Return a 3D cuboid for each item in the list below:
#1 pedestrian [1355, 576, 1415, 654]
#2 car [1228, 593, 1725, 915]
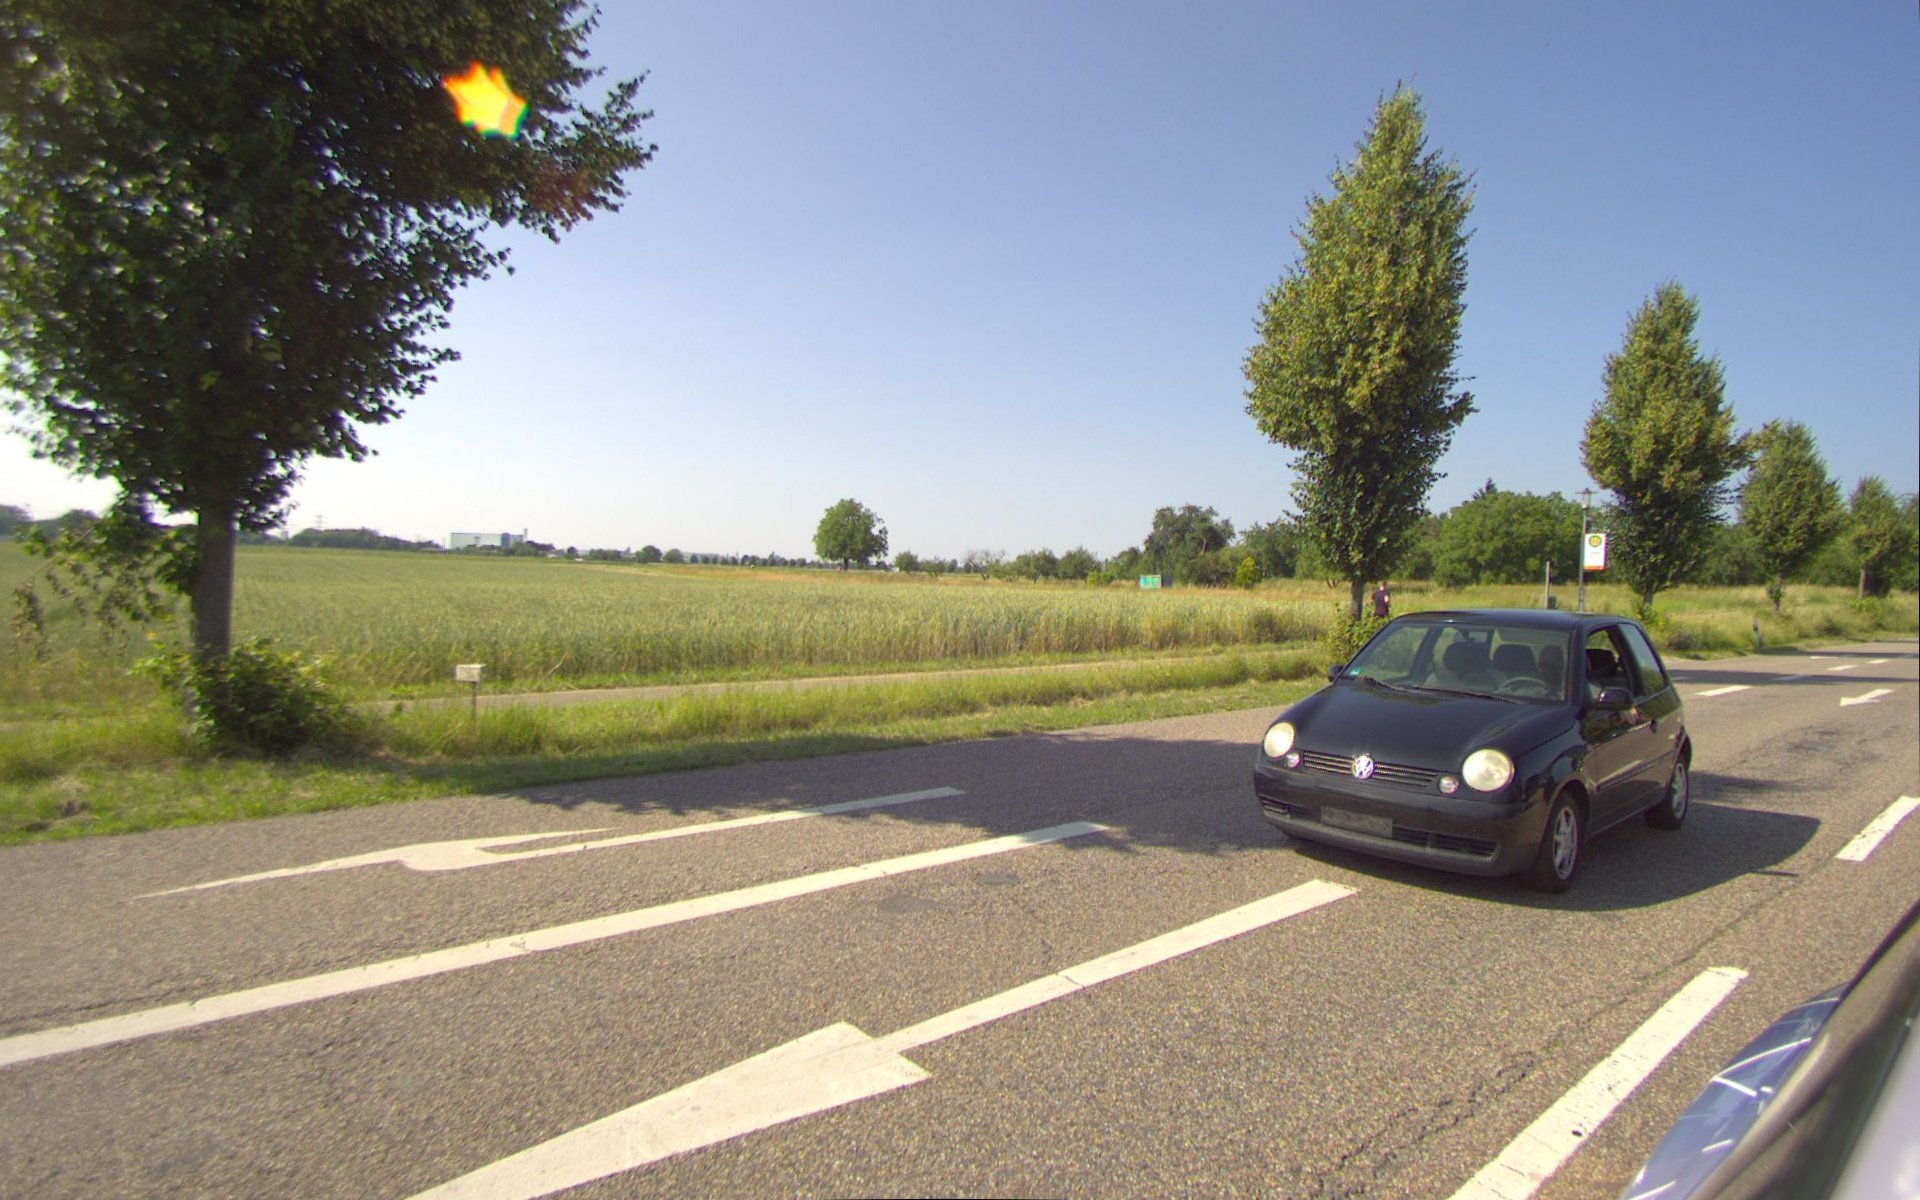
[{"bbox_3d":[10.543,0.360,25.094,1.174,1.862,0.903,1,1,-43],"label":"pedestrian"},{"bbox_3d":[3.407,0.699,6.401,3.560,1.451,1.628,0,0,-42],"label":"car"}]
